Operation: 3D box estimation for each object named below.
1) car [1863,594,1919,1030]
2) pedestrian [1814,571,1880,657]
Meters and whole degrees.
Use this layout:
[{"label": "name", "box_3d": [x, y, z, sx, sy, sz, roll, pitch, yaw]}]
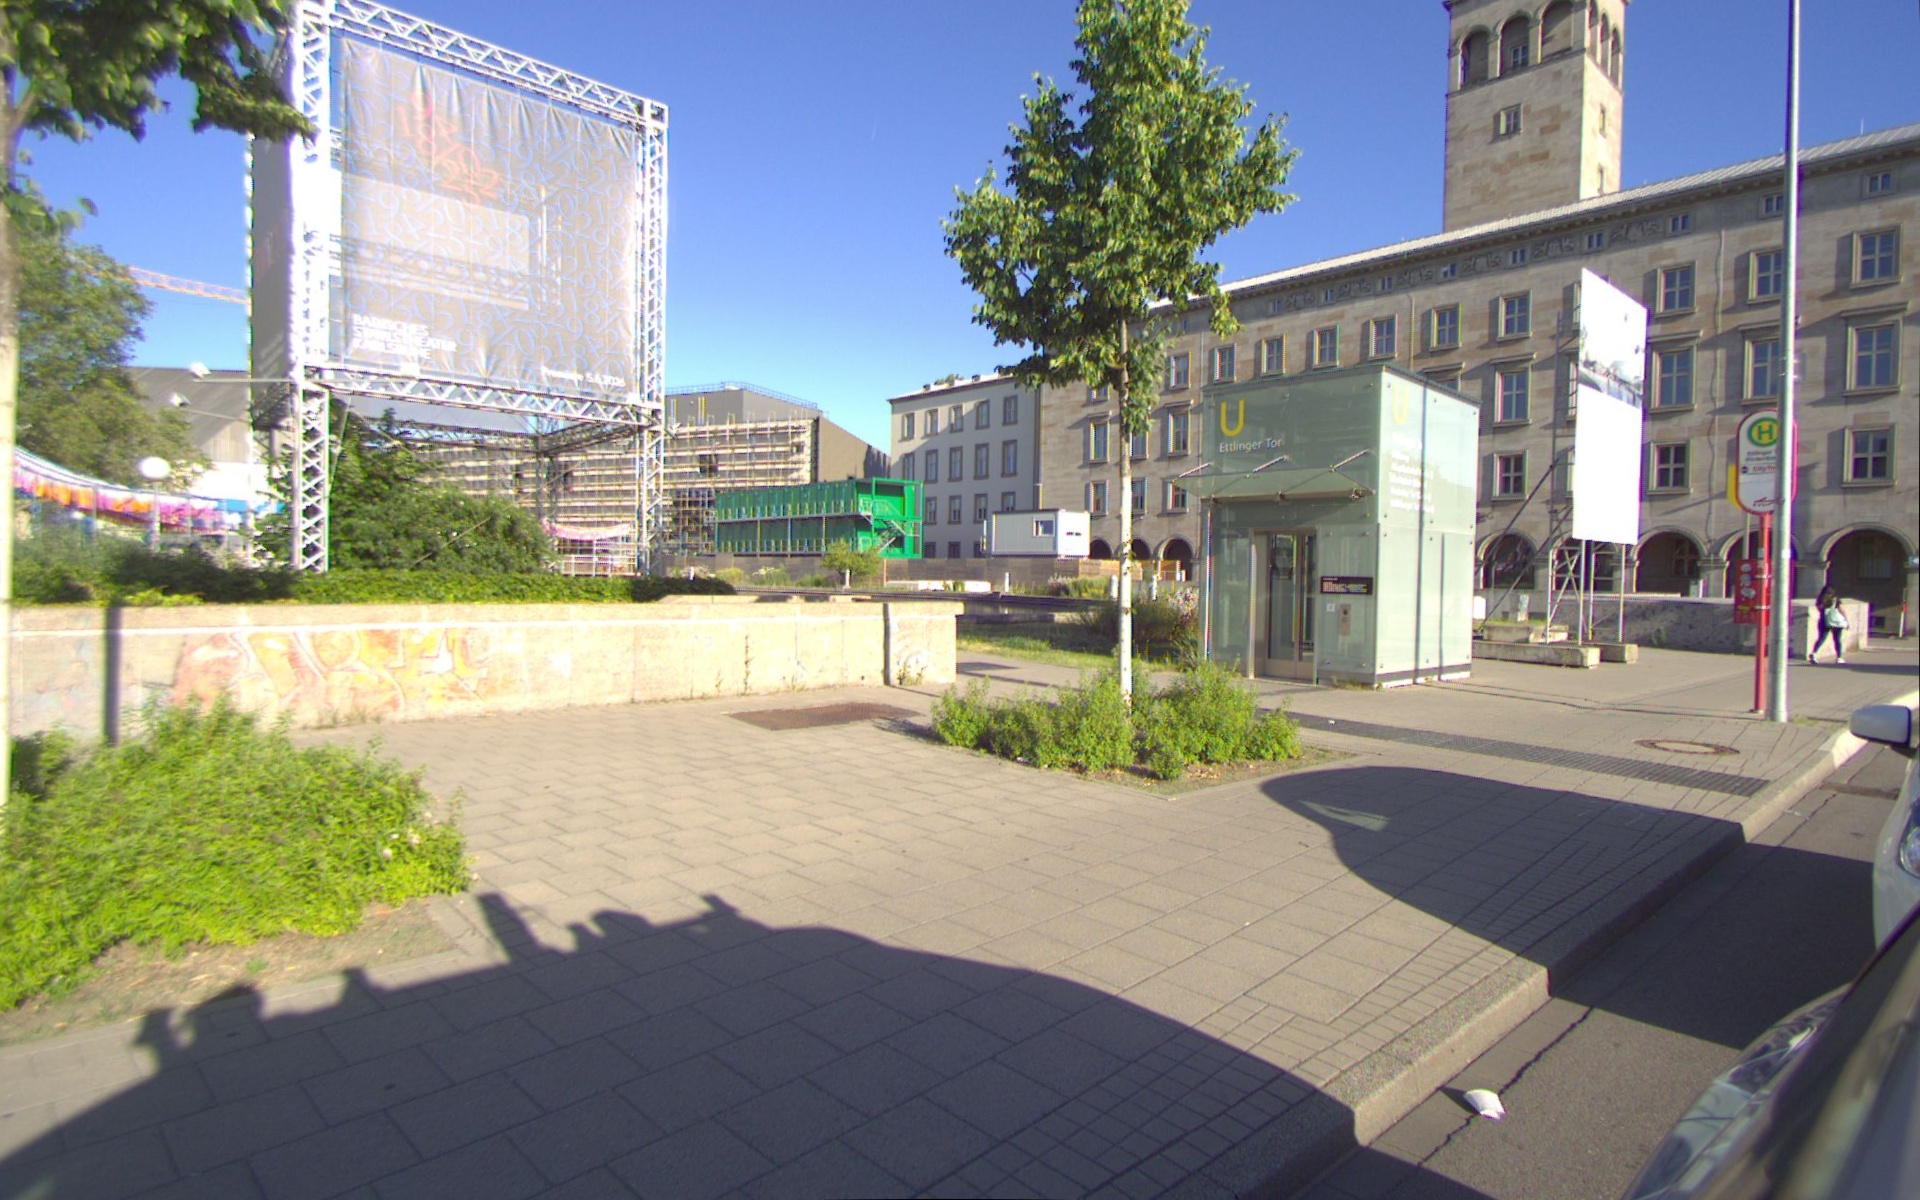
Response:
[{"label": "car", "box_3d": [5.128, 0.712, 4.095, 3.820, 1.467, 1.677, 0, 0, -40]}, {"label": "pedestrian", "box_3d": [19.170, 0.293, 21.873, 1.053, 1.809, 0.941, 0, 0, -41]}]
